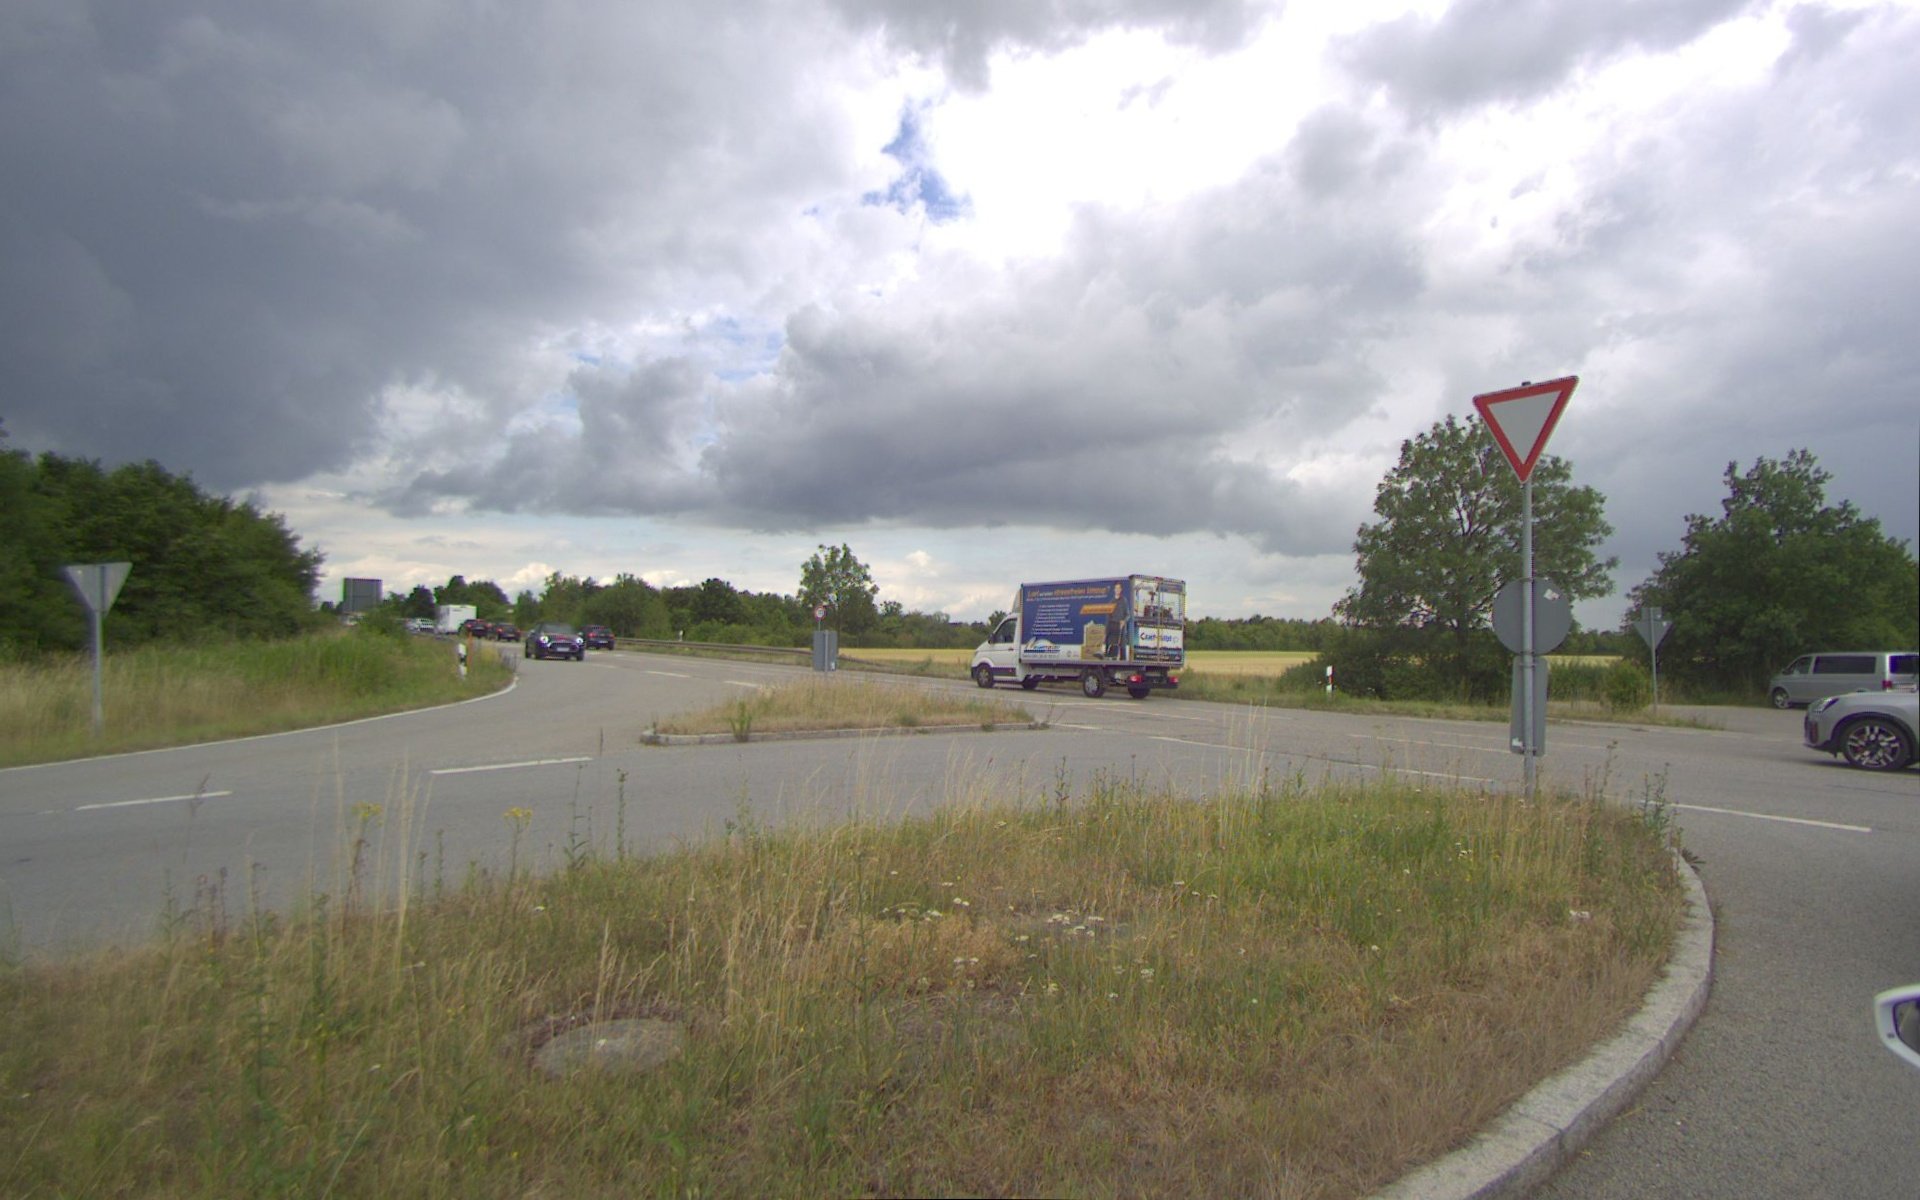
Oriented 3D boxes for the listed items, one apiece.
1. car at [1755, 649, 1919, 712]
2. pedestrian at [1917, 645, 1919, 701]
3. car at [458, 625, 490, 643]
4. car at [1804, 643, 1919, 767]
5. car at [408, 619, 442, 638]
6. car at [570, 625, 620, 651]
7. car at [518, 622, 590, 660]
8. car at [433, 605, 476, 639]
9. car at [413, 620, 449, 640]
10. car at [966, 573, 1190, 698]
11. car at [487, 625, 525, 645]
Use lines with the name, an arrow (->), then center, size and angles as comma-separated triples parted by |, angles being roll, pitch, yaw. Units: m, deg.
car -> 29.165, 2.561, 33.065 | 2.070, 1.910, 5.104 | 0, -3, 3
pedestrian -> 30.361, 2.290, 31.242 | 0.724, 1.745, 0.697 | 2, -2, -31
car -> -41.960, 2.929, 86.691 | 1.831, 1.545, 3.959 | 2, -3, -37
car -> 14.110, 1.460, 13.307 | 1.984, 1.644, 4.213 | 6, -5, -39
car -> -56.984, 3.034, 106.953 | 2.321, 1.947, 4.822 | 2, -3, -38
car -> -22.852, 2.374, 62.746 | 1.832, 1.545, 3.958 | 2, -3, -37
car -> -15.571, 1.543, 38.402 | 1.658, 1.370, 4.128 | 0, -2, -35
car -> -47.526, 2.092, 94.375 | 2.321, 3.069, 6.486 | 2, -3, -38
car -> -53.211, 2.993, 100.999 | 2.320, 1.947, 4.823 | 2, -3, -38
car -> 3.132, 1.026, 28.293 | 2.321, 3.068, 6.488 | 5, -5, -37
car -> -35.905, 2.795, 79.384 | 1.832, 1.545, 3.957 | 2, -3, -38
